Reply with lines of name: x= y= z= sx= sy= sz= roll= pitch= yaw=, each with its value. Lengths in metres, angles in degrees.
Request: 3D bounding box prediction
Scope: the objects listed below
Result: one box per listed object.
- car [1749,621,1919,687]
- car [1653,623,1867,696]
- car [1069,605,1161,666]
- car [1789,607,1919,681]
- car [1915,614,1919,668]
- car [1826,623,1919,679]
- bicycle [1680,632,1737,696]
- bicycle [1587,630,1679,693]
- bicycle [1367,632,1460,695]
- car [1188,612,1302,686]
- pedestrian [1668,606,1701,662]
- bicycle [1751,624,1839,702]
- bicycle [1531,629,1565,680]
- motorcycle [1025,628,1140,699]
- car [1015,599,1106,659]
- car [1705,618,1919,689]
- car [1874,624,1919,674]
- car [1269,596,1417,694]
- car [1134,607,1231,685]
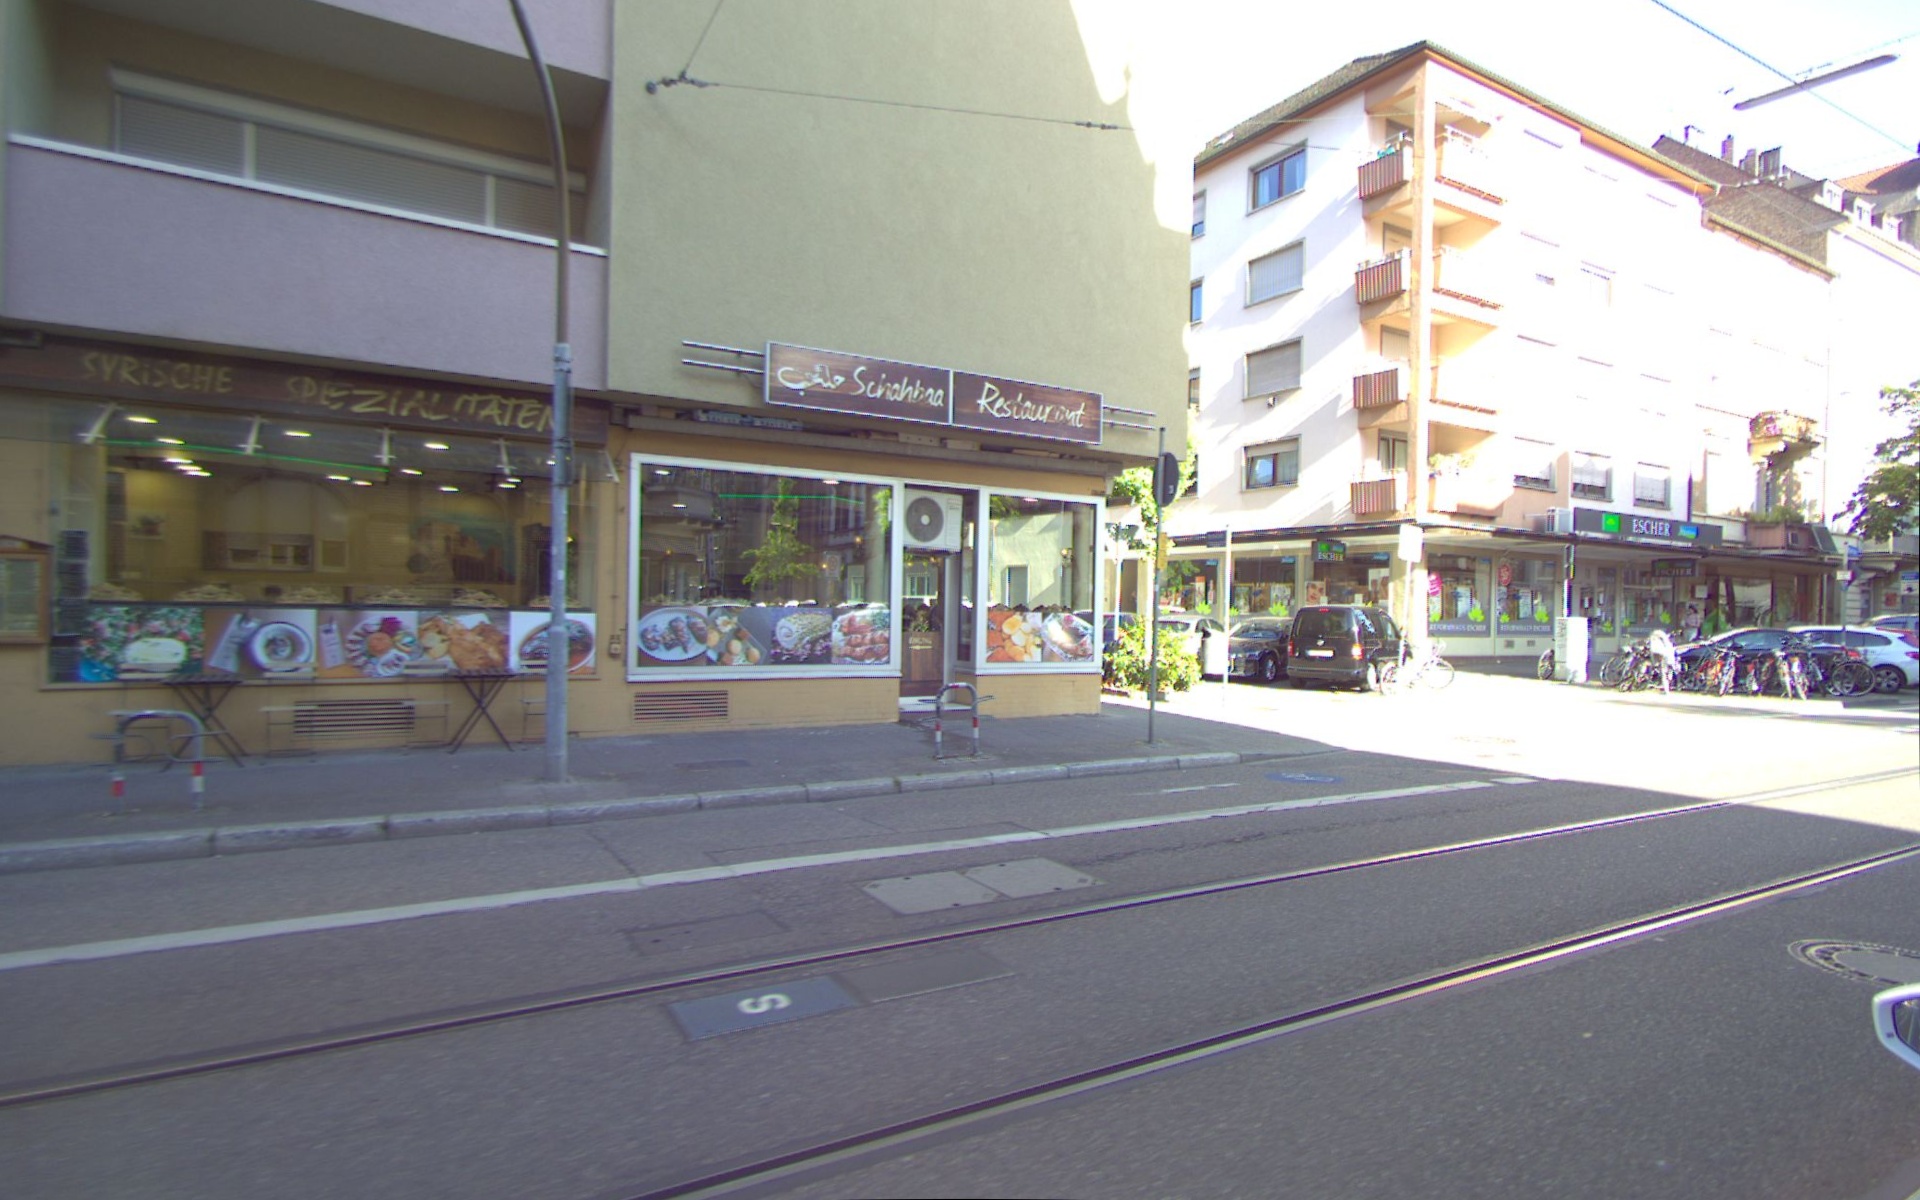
car: x=22.234 y=1.332 z=25.392 sx=3.410 sy=1.493 sz=1.645 roll=1 pitch=0 yaw=32
car: x=17.618 y=1.278 z=22.319 sx=3.406 sy=1.355 sz=1.623 roll=2 pitch=0 yaw=26
car: x=4.669 y=0.991 z=29.892 sx=1.659 sy=1.477 sz=3.995 roll=1 pitch=3 yaw=25
car: x=24.798 y=1.171 z=26.890 sx=3.757 sy=1.808 sz=1.793 roll=2 pitch=0 yaw=32
car: x=33.962 y=1.439 z=32.292 sx=4.287 sy=1.806 sz=1.993 roll=2 pitch=0 yaw=28
car: x=27.211 y=1.470 z=28.285 sx=3.945 sy=1.469 sz=1.697 roll=2 pitch=0 yaw=28
bicycle: x=15.237 y=1.280 z=20.482 sx=0.671 sy=1.139 sz=1.884 roll=1 pitch=2 yaw=29
bicycle: x=14.118 y=1.252 z=21.150 sx=0.670 sy=1.124 sz=2.436 roll=0 pitch=1 yaw=10
bicycle: x=9.371 y=1.279 z=20.707 sx=2.412 sy=1.124 sz=0.676 roll=-1 pitch=2 yaw=-37
car: x=7.084 y=1.120 z=24.714 sx=1.816 sy=1.411 sz=3.992 roll=2 pitch=3 yaw=29
pedestrian: x=21.965 y=1.019 z=30.458 sx=0.634 sy=1.674 sz=0.566 roll=2 pitch=1 yaw=-30
bicycle: x=16.284 y=1.190 z=19.573 sx=2.410 sy=1.337 sz=0.677 roll=-1 pitch=2 yaw=-34
bicycle: x=13.591 y=1.233 z=23.208 sx=0.398 sy=1.124 sz=1.829 roll=1 pitch=-1 yaw=38
motorcycle: x=2.286 y=1.157 z=18.600 sx=2.151 sy=1.226 sz=0.616 roll=2 pitch=0 yaw=-30
car: x=3.285 y=0.862 z=32.246 sx=1.659 sy=1.577 sz=3.995 roll=1 pitch=3 yaw=25
car: x=20.145 y=1.218 z=23.782 sx=3.722 sy=1.419 sz=1.752 roll=2 pitch=0 yaw=28
car: x=30.084 y=1.536 z=30.057 sx=3.780 sy=1.449 sz=1.760 roll=2 pitch=0 yaw=35
car: x=8.701 y=0.927 z=22.611 sx=1.821 sy=1.842 sz=4.337 roll=-2 pitch=1 yaw=39
car: x=6.147 y=1.174 z=27.450 sx=1.422 sy=1.726 sz=3.991 roll=2 pitch=3 yaw=30
